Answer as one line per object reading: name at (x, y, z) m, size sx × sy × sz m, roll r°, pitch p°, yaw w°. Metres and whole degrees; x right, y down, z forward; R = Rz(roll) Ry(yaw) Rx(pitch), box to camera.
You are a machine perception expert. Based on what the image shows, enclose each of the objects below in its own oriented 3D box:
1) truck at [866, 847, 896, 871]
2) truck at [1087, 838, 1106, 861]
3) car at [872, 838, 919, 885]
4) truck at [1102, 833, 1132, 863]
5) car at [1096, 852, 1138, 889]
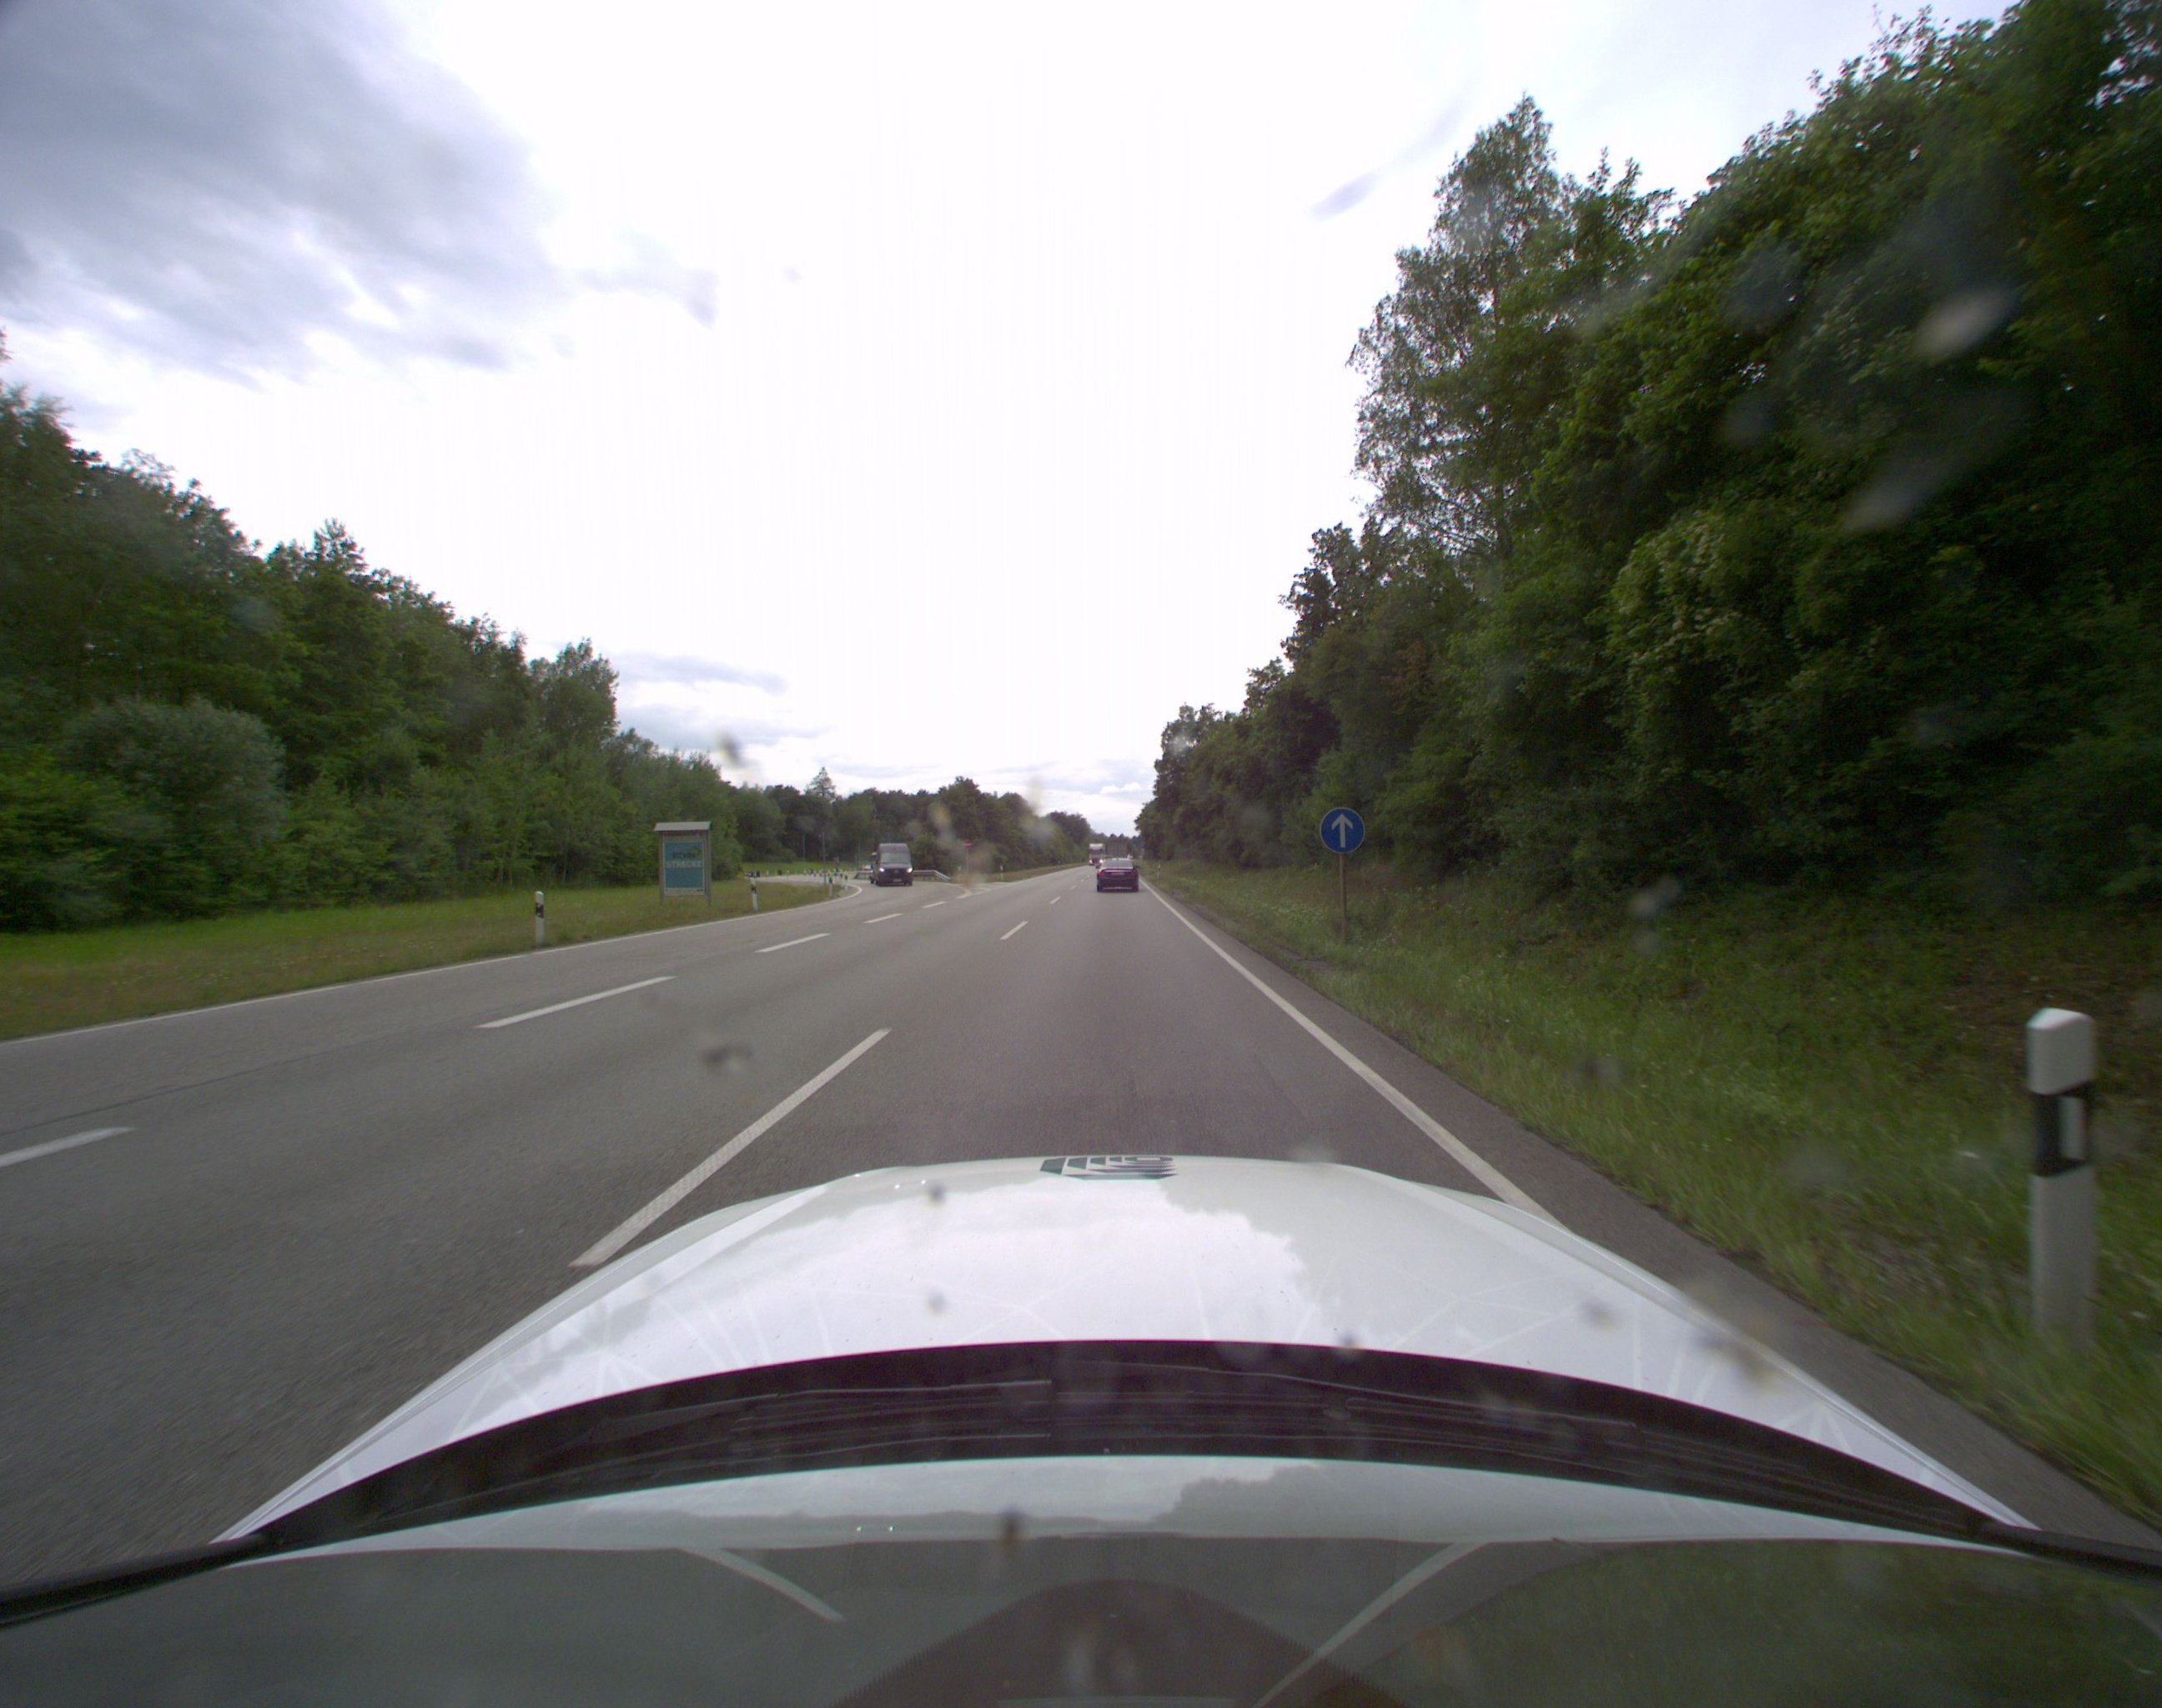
truck at (-26.795, 0.655, 109.196) m, size 1.986 × 3.012 × 7.230 m, roll 0°, pitch 0°, yaw 2°
truck at (2.986, -0.789, 154.807) m, size 3.177 × 4.062 × 9.581 m, roll 0°, pitch 0°, yaw 3°
car at (-11.359, 0.466, 50.226) m, size 2.256 × 2.529 × 7.140 m, roll -3°, pitch 0°, yaw -9°
truck at (4.798, -0.684, 105.711) m, size 3.265 × 3.611 × 11.416 m, roll 0°, pitch 0°, yaw 5°
car at (1.575, 0.715, 36.752) m, size 1.785 × 1.552 × 4.001 m, roll 0°, pitch 0°, yaw 1°
